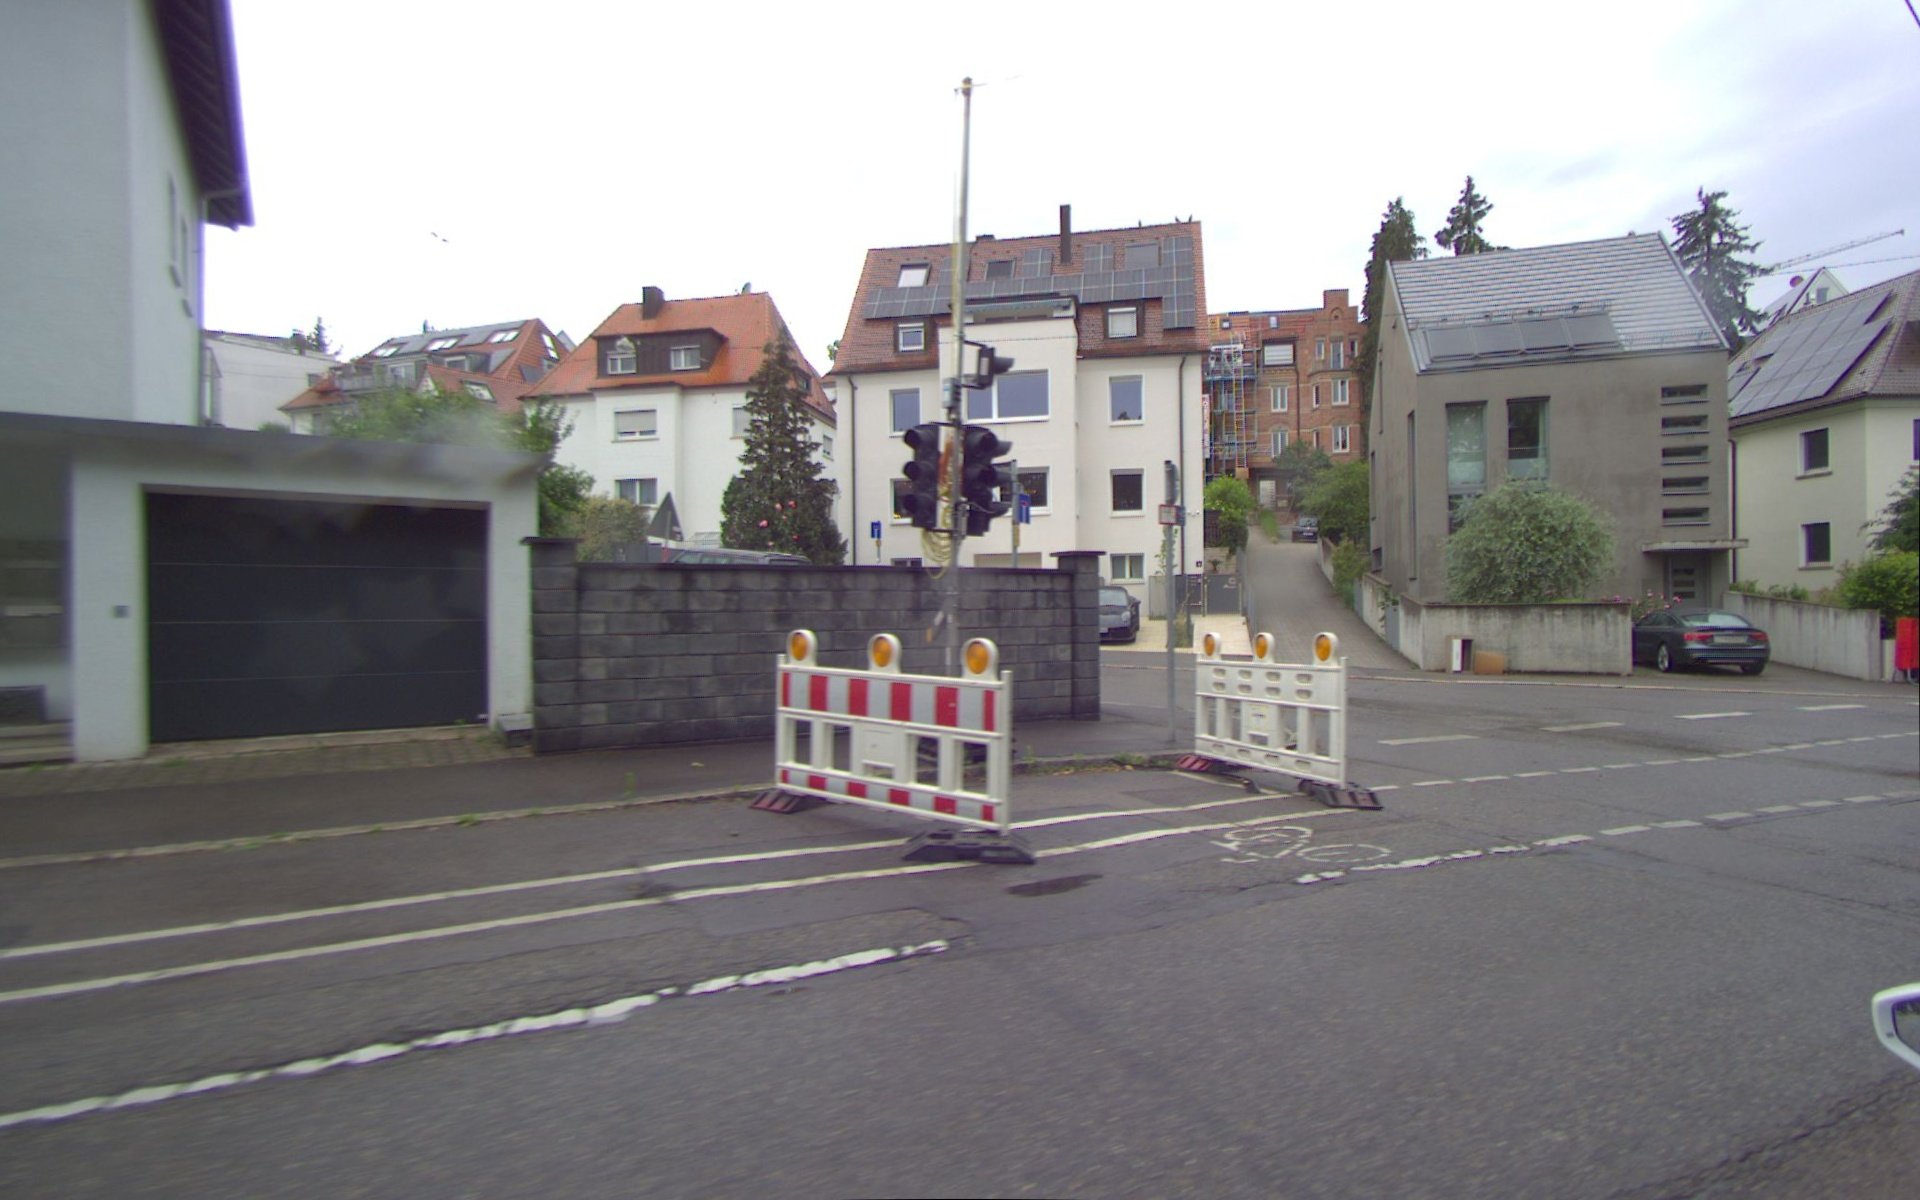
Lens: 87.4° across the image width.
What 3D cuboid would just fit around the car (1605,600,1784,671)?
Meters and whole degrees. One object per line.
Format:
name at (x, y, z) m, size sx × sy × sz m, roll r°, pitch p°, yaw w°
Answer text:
car at (16.626, 0.732, 22.992) m, size 1.802 × 1.463 × 4.002 m, roll 0°, pitch 0°, yaw 12°

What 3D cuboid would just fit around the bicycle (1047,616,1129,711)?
bicycle at (1.697, 0.820, 13.515) m, size 0.456 × 1.139 × 1.512 m, roll 3°, pitch 1°, yaw -17°

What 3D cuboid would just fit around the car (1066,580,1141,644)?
car at (3.833, 0.281, 26.405) m, size 1.700 × 1.528 × 3.821 m, roll 1°, pitch 0°, yaw 11°

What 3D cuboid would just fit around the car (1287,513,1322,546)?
car at (19.083, -3.899, 55.744) m, size 1.746 × 1.483 × 3.618 m, roll 0°, pitch -1°, yaw 17°

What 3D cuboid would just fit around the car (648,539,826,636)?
car at (-5.410, -0.315, 24.249) m, size 3.935 × 1.945 × 1.993 m, roll 6°, pitch 2°, yaw 36°
